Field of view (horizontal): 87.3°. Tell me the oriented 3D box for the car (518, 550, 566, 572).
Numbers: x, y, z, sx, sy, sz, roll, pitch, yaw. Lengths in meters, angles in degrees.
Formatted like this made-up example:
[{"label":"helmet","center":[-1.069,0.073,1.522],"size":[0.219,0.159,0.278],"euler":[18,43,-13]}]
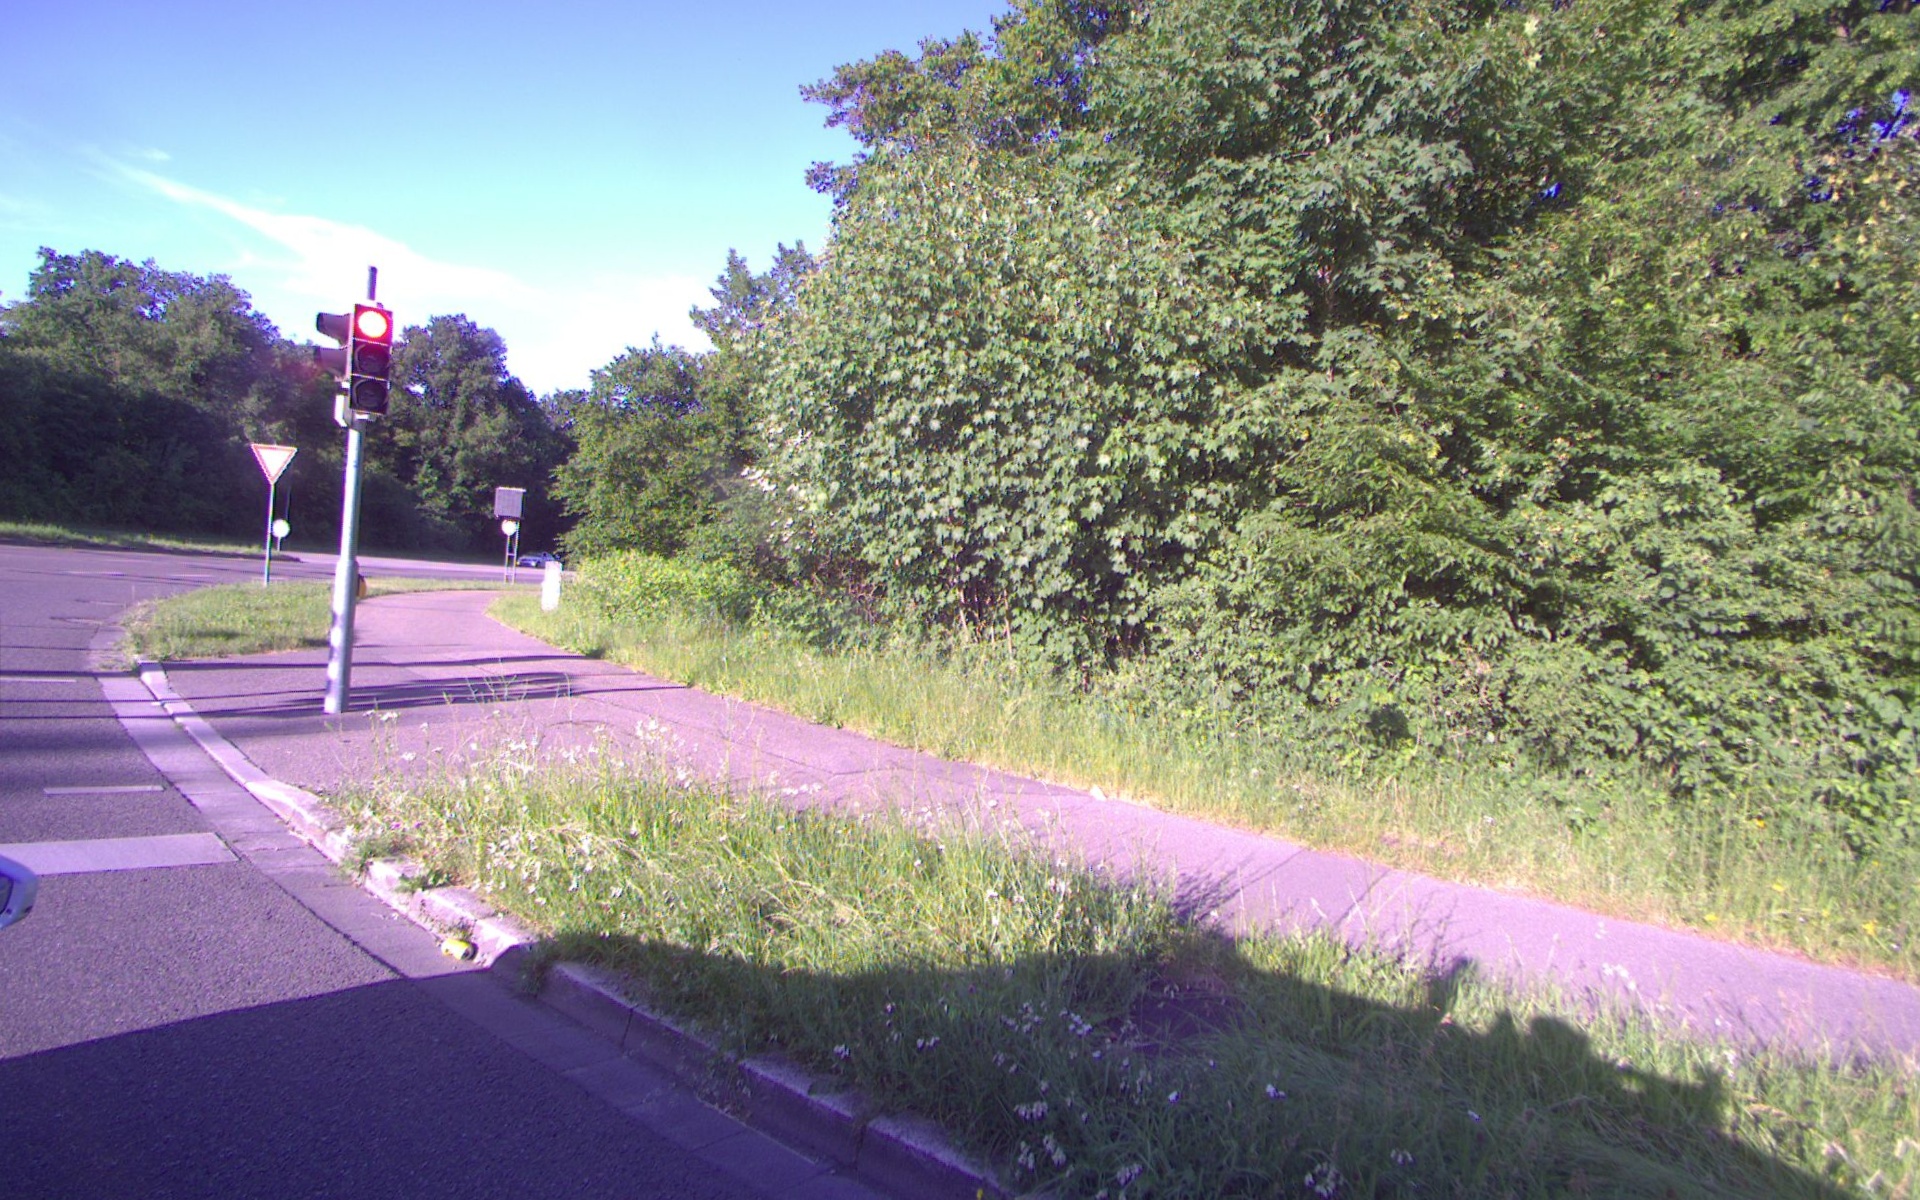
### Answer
[{"label":"car","center":[-35.787,-3.319,86.357],"size":[1.963,1.454,4.806],"euler":[6,0,1]}]
